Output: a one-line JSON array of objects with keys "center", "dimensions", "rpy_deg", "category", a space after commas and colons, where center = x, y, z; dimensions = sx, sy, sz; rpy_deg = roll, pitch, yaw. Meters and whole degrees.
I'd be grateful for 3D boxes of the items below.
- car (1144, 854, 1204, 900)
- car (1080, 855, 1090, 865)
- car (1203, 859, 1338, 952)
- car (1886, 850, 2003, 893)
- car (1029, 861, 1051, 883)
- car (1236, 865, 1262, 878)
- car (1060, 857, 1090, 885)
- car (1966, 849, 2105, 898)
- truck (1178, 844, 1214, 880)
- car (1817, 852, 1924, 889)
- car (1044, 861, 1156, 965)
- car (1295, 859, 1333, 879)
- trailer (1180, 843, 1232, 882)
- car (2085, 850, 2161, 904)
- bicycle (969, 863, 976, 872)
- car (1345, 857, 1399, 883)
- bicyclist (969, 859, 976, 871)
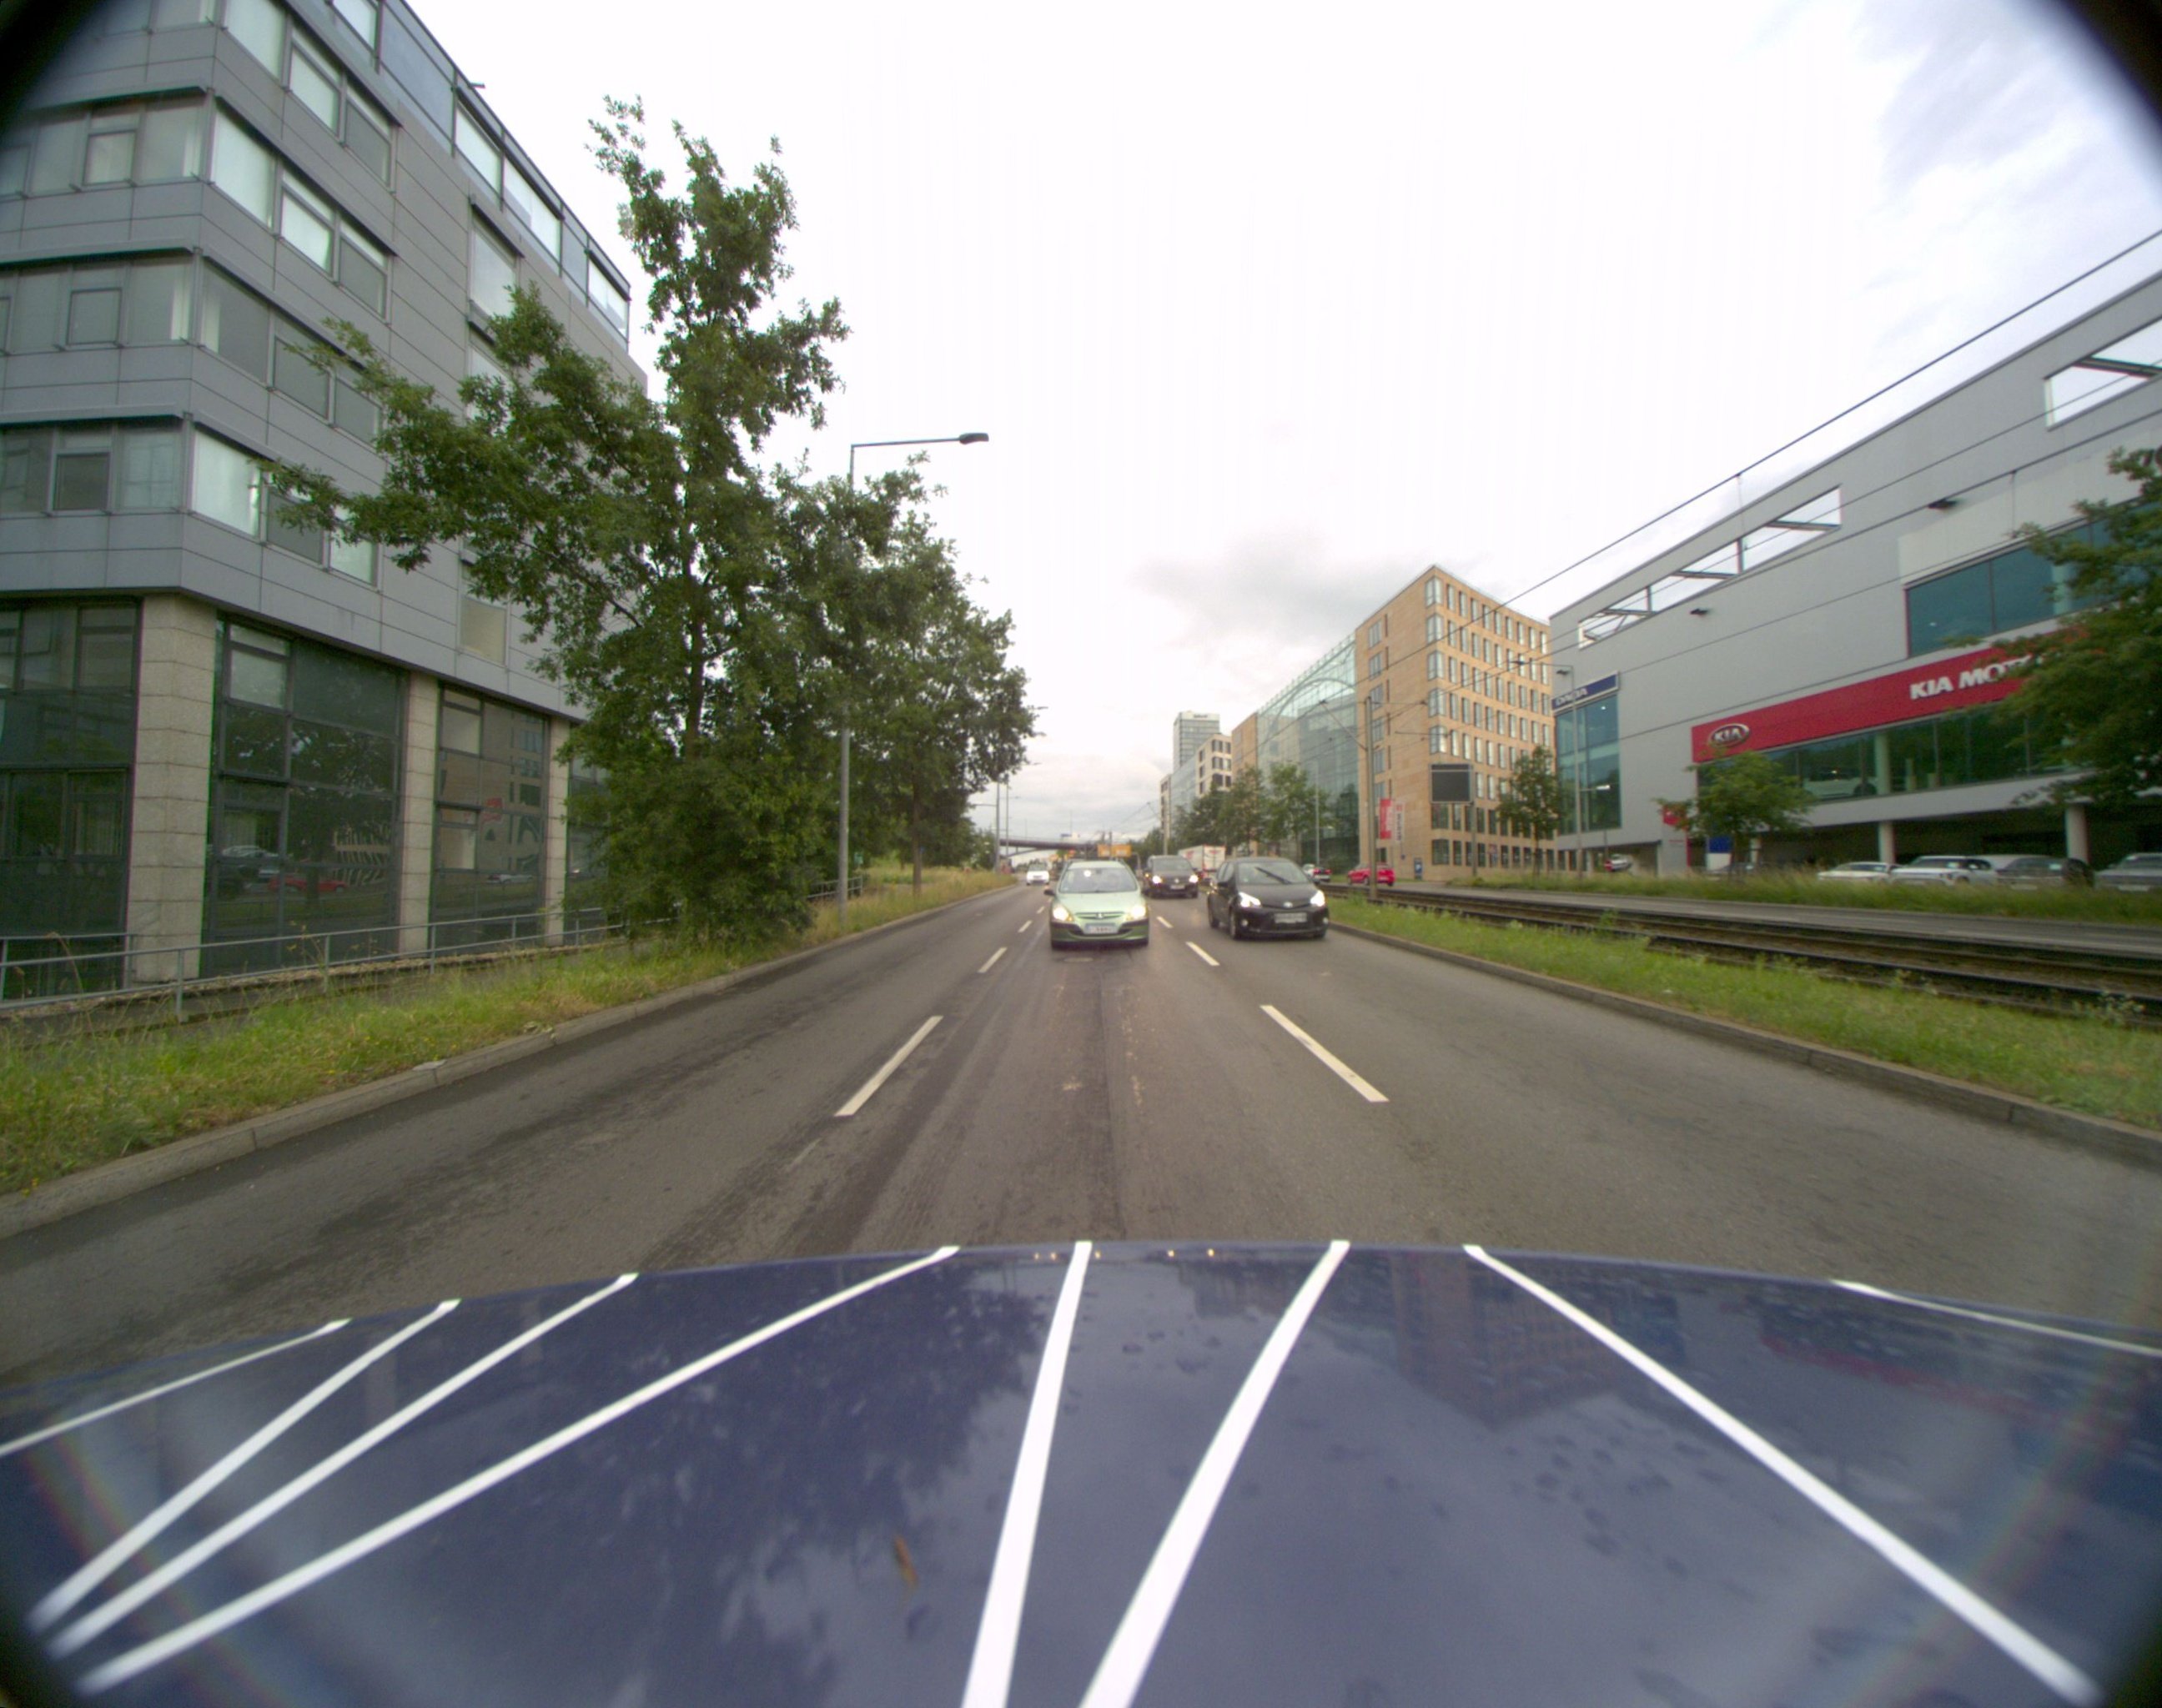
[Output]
[{"center": [3.546, 0.831, 29.662], "dimensions": [1.786, 1.597, 4.317], "rpy_deg": [-2, 0, 0], "category": "car"}, {"center": [0.814, 1.261, 155.916], "dimensions": [1.960, 2.002, 4.000], "rpy_deg": [-1, 0, 1], "category": "car"}, {"center": [3.544, 0.894, 14.877], "dimensions": [1.704, 1.523, 3.826], "rpy_deg": [-1, 0, 1], "category": "car"}, {"center": [31.760, 0.625, 27.953], "dimensions": [3.668, 1.287, 1.696], "rpy_deg": [-4, 0, -22], "category": "car"}, {"center": [-3.051, 1.339, 57.165], "dimensions": [1.518, 1.495, 3.167], "rpy_deg": [-1, 0, -2], "category": "car"}, {"center": [18.714, 1.963, 84.636], "dimensions": [1.689, 1.361, 4.023], "rpy_deg": [-1, 0, -4], "category": "car"}, {"center": [-0.432, 1.040, 47.702], "dimensions": [1.759, 1.649, 4.337], "rpy_deg": [-1, 0, -2], "category": "car"}, {"center": [31.599, 0.628, 25.172], "dimensions": [3.528, 1.344, 1.696], "rpy_deg": [-4, 0, -17], "category": "car"}, {"center": [14.526, 0.990, 96.429], "dimensions": [3.144, 4.219, 7.026], "rpy_deg": [2, 0, -3], "category": "truck"}, {"center": [31.738, 0.646, 30.558], "dimensions": [3.668, 1.181, 1.696], "rpy_deg": [-4, 0, -22], "category": "car"}, {"center": [0.300, 0.936, 13.966], "dimensions": [1.704, 1.523, 4.371], "rpy_deg": [-1, 0, 0], "category": "car"}, {"center": [19.779, 1.263, 64.578], "dimensions": [1.689, 1.571, 4.098], "rpy_deg": [-1, 0, -4], "category": "car"}, {"center": [14.794, 0.984, 91.396], "dimensions": [3.143, 4.304, 13.276], "rpy_deg": [2, 0, -4], "category": "trailer"}, {"center": [32.044, 0.643, 22.580], "dimensions": [3.528, 1.344, 1.696], "rpy_deg": [-4, 0, -20], "category": "car"}, {"center": [-14.524, 1.826, 101.721], "dimensions": [0.582, 1.082, 1.906], "rpy_deg": [-2, 0, 1], "category": "bicycle"}, {"center": [17.845, 0.942, 46.756], "dimensions": [1.588, 1.504, 4.101], "rpy_deg": [1, 0, -3], "category": "car"}, {"center": [-14.518, 1.457, 101.717], "dimensions": [0.647, 1.569, 0.855], "rpy_deg": [-2, 0, 1], "category": "bicyclist"}]
